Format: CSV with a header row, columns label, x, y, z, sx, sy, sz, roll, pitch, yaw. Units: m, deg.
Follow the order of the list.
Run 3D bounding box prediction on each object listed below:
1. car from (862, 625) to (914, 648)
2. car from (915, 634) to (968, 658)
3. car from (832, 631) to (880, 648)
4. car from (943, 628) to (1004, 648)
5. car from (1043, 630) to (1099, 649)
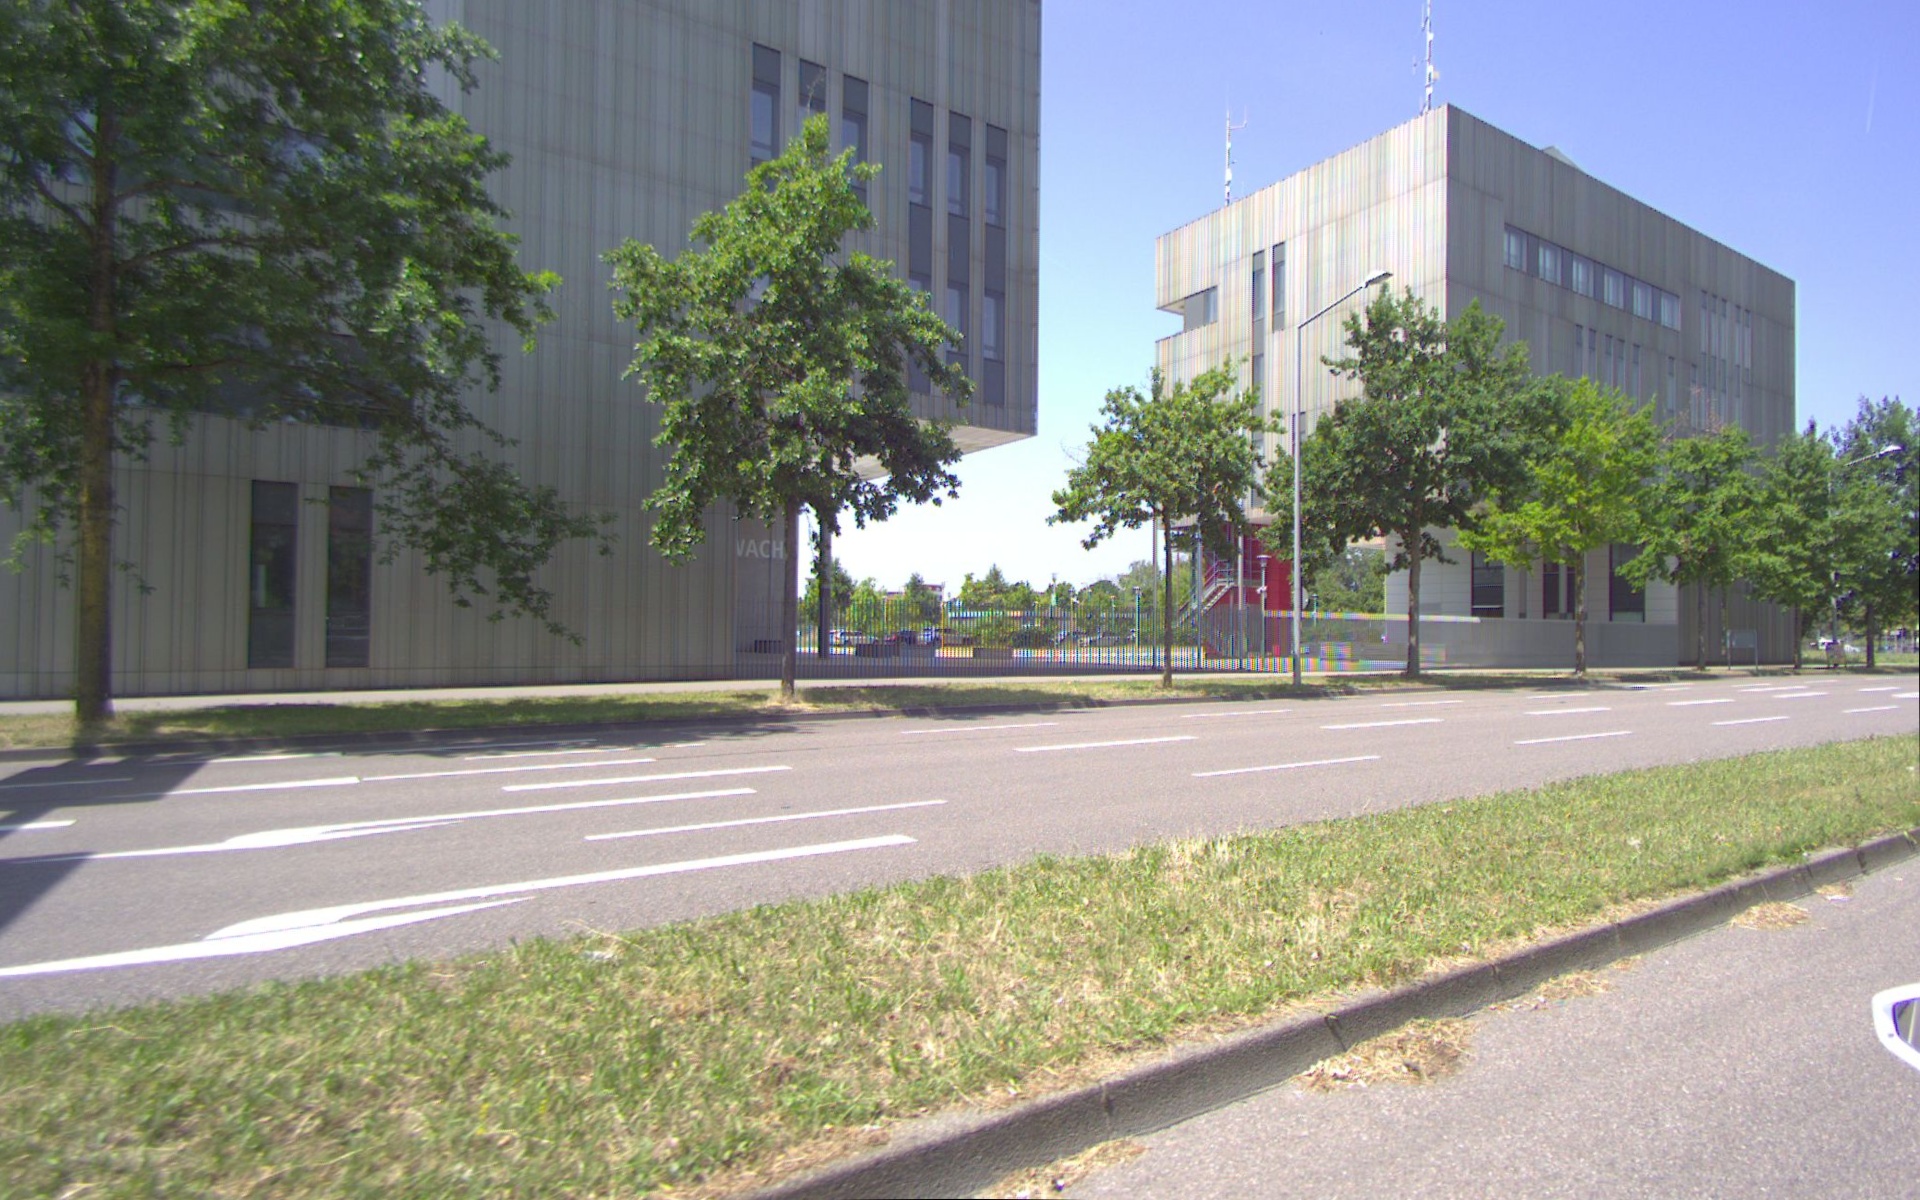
label,x,y,z,sx,sy,sz,roll,pitch,yaw
car,-5.647,2.874,78.729,3.732,1.719,1.648,1,-1,-31
car,-1.372,3.463,75.916,3.732,1.719,1.648,2,-1,-31
car,-9.000,3.378,86.982,3.732,1.428,1.648,1,-1,-31
car,0.983,2.777,72.835,3.955,1.405,1.983,2,-1,-31
car,9.503,3.387,85.946,4.471,1.602,2.013,1,-1,-31
